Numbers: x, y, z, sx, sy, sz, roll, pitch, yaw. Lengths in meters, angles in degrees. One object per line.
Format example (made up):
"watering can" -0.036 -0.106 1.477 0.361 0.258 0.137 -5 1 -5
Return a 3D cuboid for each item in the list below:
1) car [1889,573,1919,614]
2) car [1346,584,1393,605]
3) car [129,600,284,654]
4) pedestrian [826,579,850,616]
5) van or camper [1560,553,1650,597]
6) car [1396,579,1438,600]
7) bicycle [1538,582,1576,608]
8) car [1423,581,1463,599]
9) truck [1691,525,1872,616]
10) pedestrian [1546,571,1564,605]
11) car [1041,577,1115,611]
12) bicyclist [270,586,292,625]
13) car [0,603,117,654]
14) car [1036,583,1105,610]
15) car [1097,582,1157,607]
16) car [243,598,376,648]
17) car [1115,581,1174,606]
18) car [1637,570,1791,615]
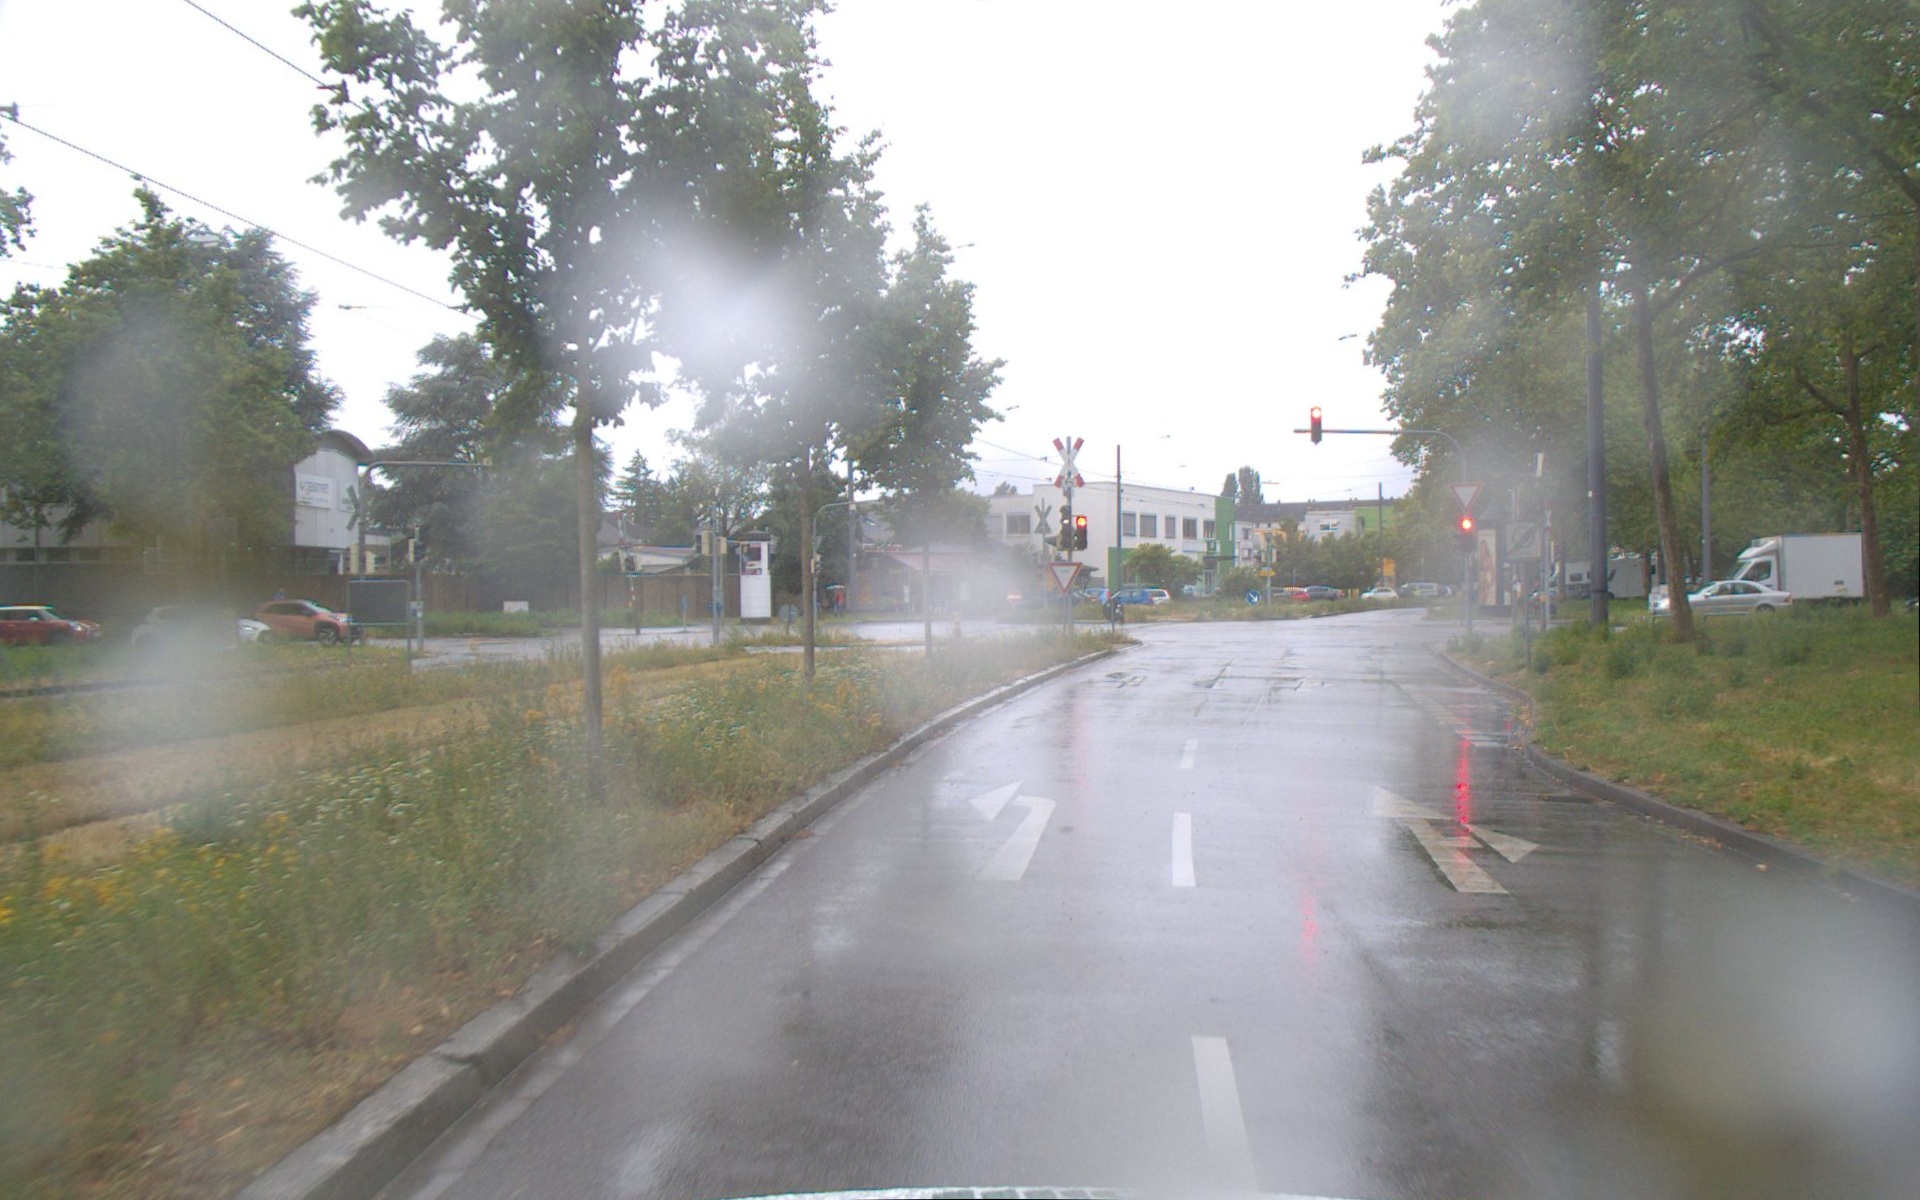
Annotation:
"car" 34.921 -0.258 57.690 4.022 1.414 1.646 -1 0 7
"car" 38.319 -0.490 154.982 4.047 1.892 1.675 -1 0 6
"car" -23.146 0.817 50.888 3.982 1.525 1.652 -1 0 -1
"pedestrian" -6.060 -0.125 82.135 0.793 1.794 0.898 -1 0 -34
"van or camper" 41.473 -1.633 106.429 5.122 2.744 2.240 1 1 29
"car" 47.363 -1.105 171.464 4.048 2.010 1.674 -1 0 17
"bicycle" 26.700 -0.221 73.964 1.529 1.121 0.500 -1 0 0
"car" 52.541 -1.105 179.851 4.048 1.892 1.674 -1 0 17
"truck" 29.073 -1.023 58.688 5.352 3.112 1.983 -1 0 7
"pedestrian" 26.613 -0.526 73.965 0.564 1.501 0.500 -1 0 1
"car" 7.030 -0.374 98.307 4.048 1.892 1.674 -1 0 17
"bicyclist" -30.465 0.260 74.226 0.669 1.712 0.642 -1 0 7
"car" -30.096 0.933 54.375 3.831 1.525 1.651 -1 1 -5
"car" 6.358 -0.206 94.911 3.670 1.467 1.764 -1 0 14
"car" 10.366 -0.339 102.709 3.671 1.467 1.763 -1 0 4
"car" -21.506 0.744 54.765 3.740 1.525 1.652 -1 0 -1
"car" 11.800 -0.404 105.781 3.671 1.467 1.763 -1 0 4
"car" 25.448 -0.246 55.940 4.416 1.414 1.646 -1 0 7
